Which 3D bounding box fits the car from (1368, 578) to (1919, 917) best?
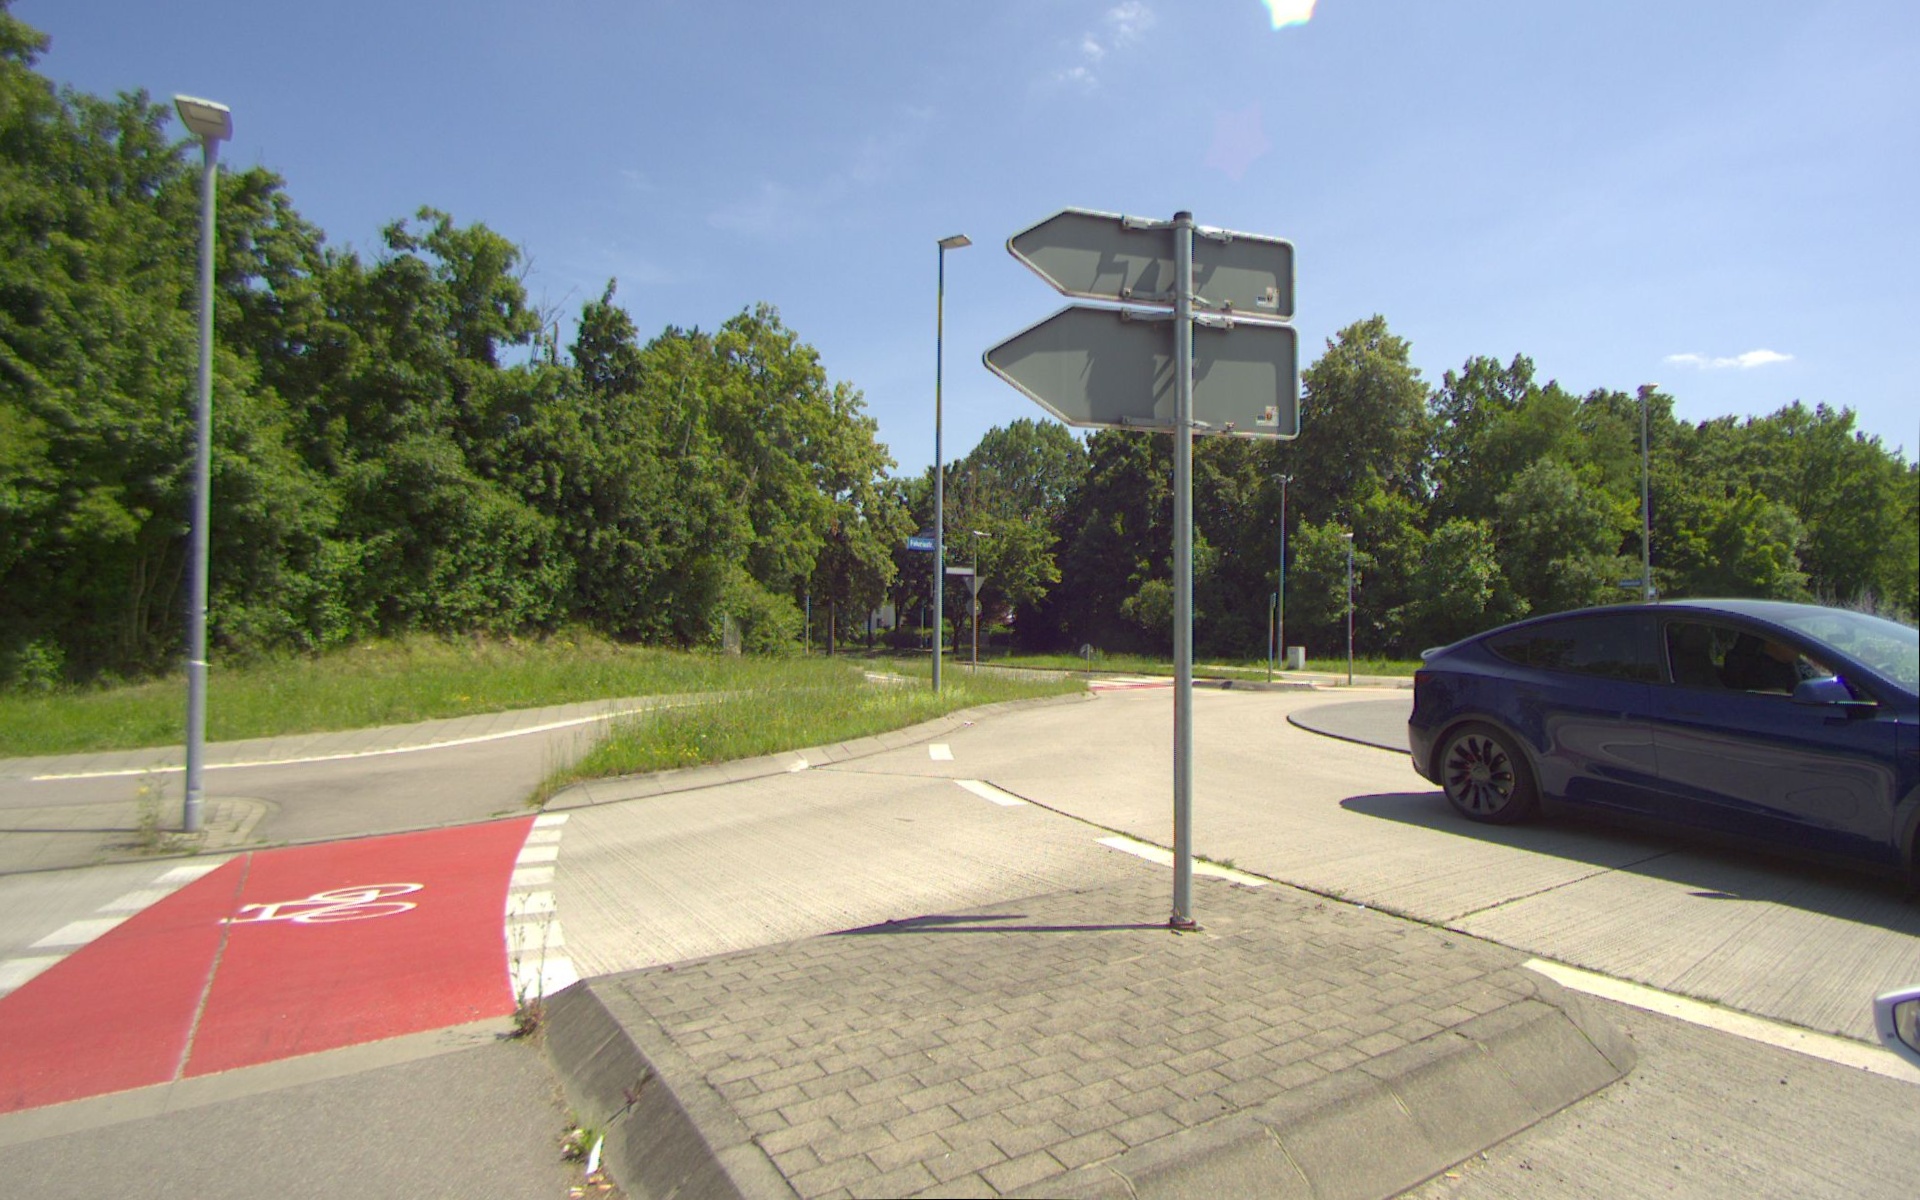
[{"bbox_3d":[5.157,0.766,6.380,1.972,1.661,4.730,1,-2,-24],"label":"car"}]
